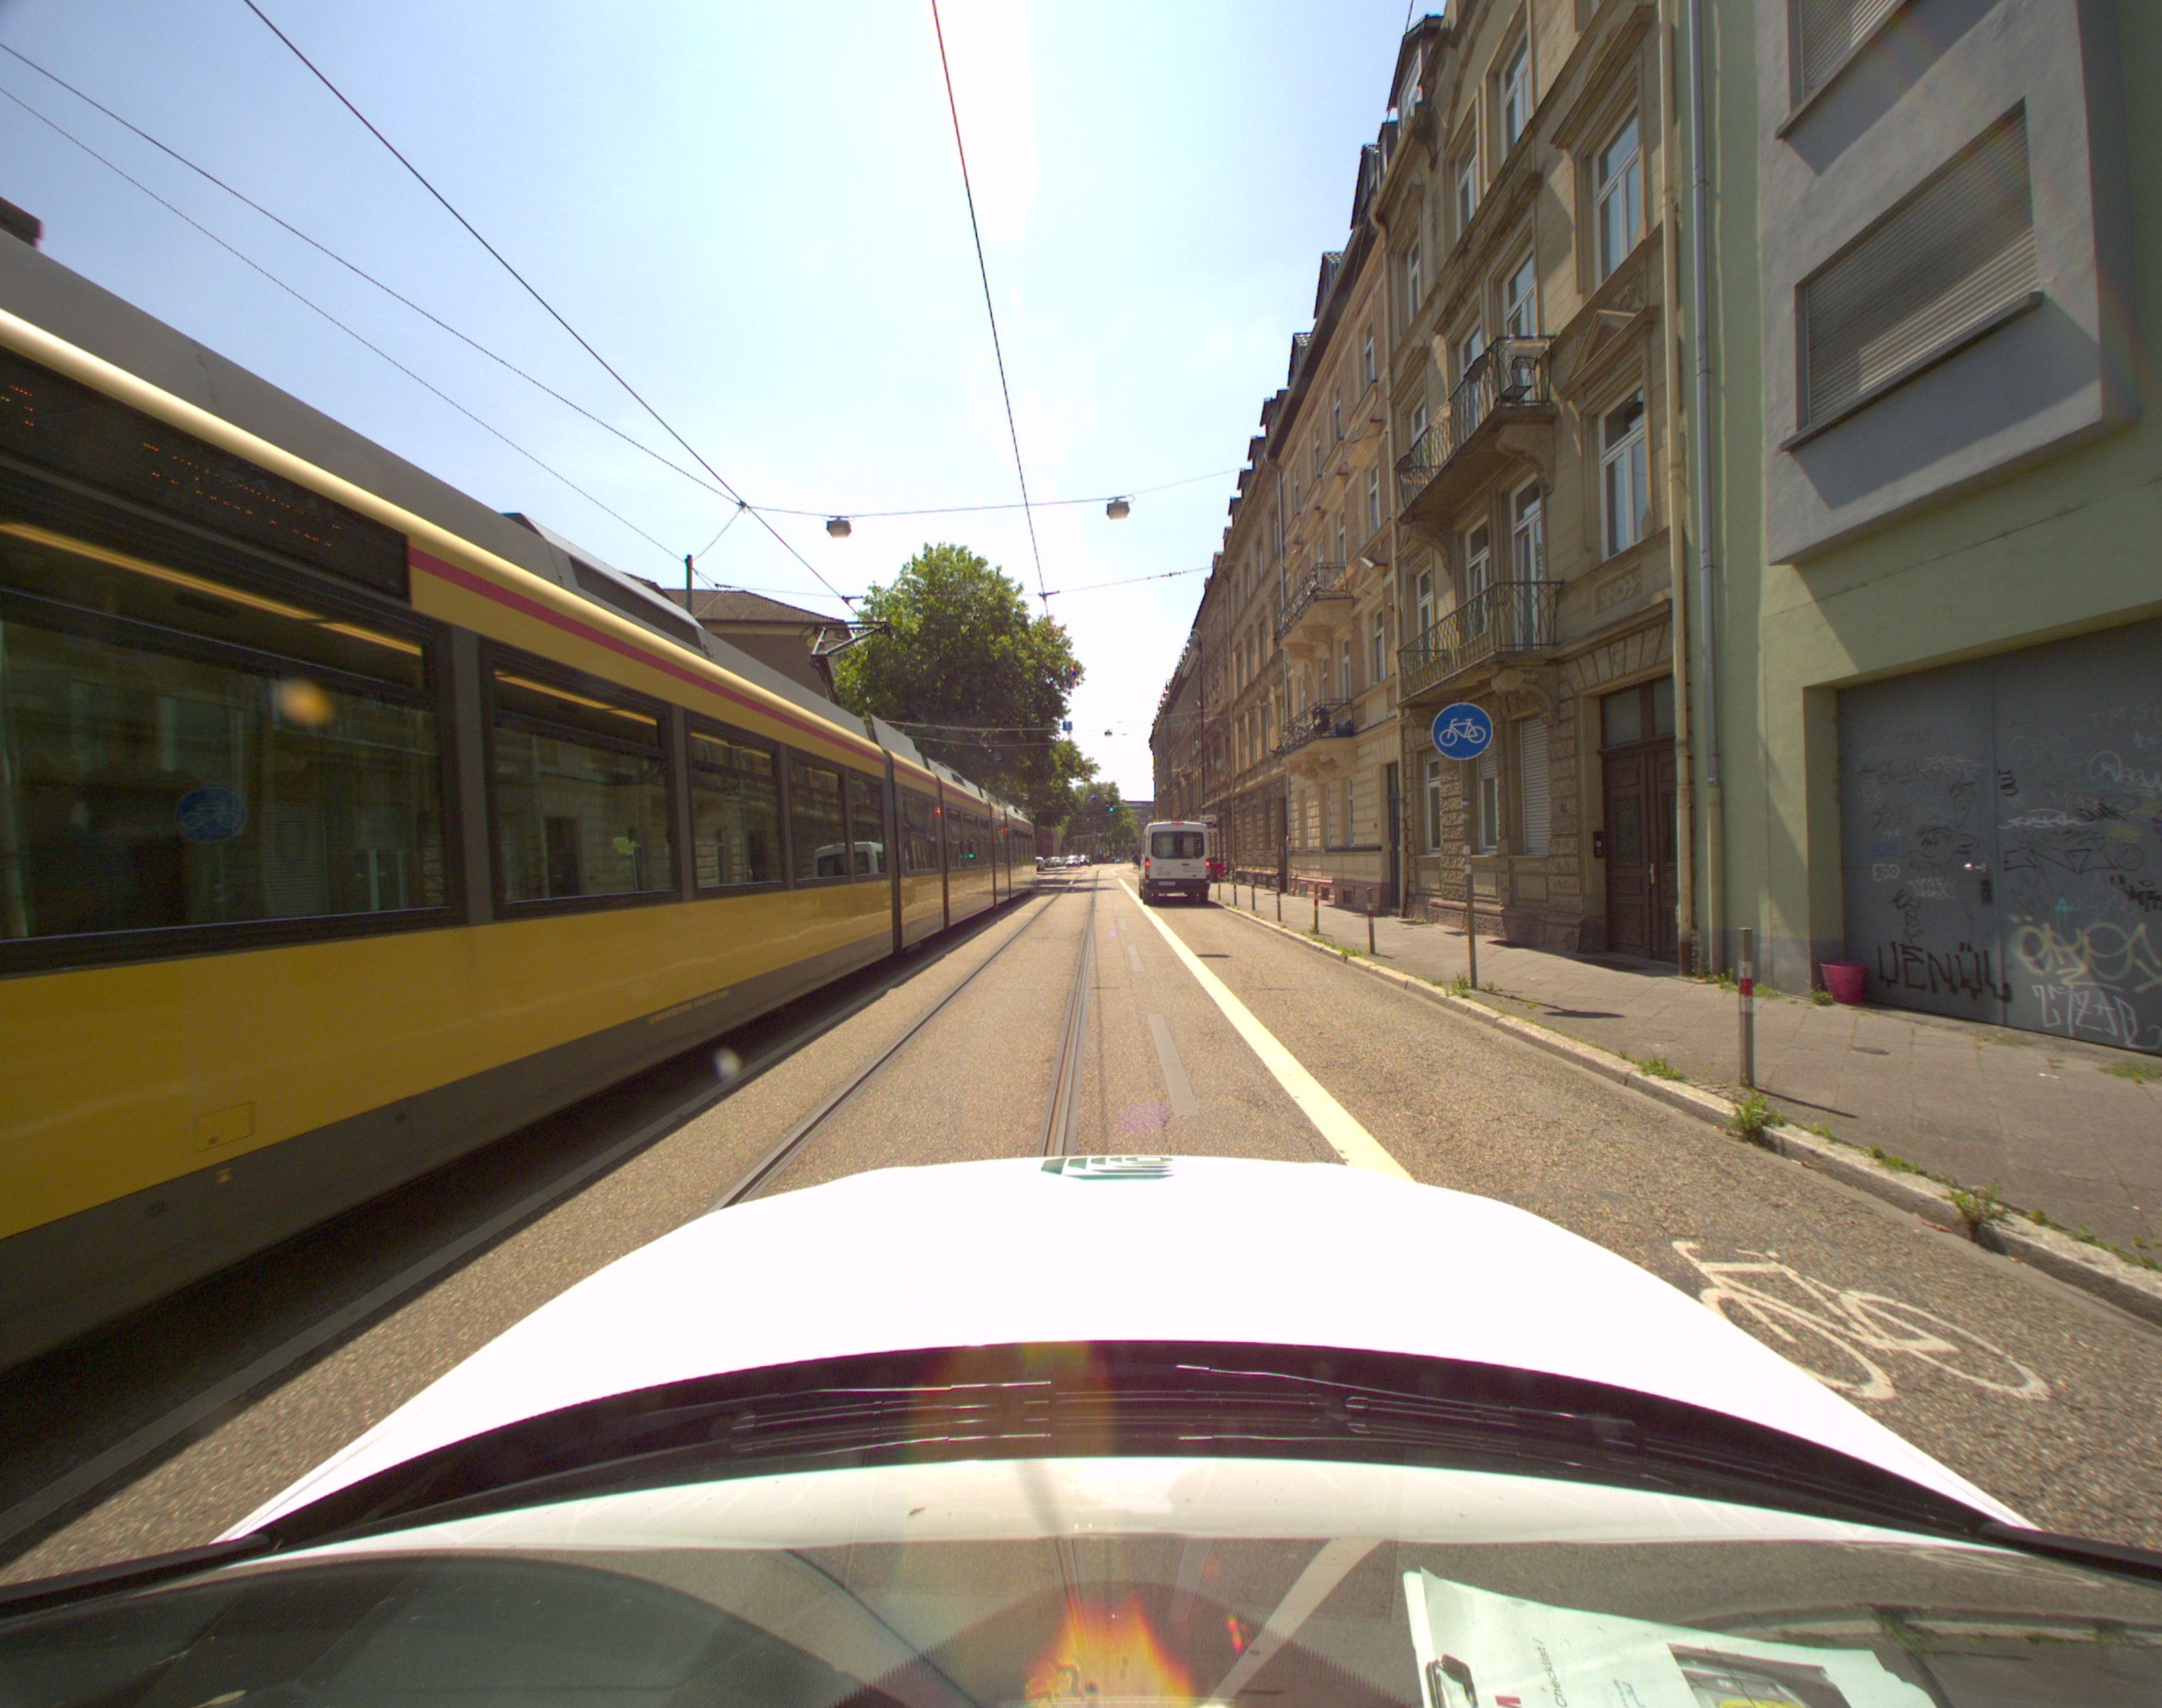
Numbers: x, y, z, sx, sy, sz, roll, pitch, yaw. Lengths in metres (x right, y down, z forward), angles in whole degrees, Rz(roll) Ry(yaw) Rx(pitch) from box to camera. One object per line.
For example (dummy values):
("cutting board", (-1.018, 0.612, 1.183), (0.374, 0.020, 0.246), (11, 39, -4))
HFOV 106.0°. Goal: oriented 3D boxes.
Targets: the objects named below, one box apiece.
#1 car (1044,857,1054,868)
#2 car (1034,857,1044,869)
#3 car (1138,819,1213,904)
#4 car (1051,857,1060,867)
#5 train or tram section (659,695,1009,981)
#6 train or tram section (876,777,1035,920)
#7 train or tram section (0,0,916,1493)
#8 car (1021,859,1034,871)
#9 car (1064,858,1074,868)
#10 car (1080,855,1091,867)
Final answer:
("car", (-5.185, 1.364, 132.172), (1.450, 1.731, 3.192), (0, 0, -1))
("car", (-6.579, 1.369, 126.806), (1.450, 1.731, 3.192), (0, 0, -1))
("car", (2.976, 0.225, 26.814), (2.059, 2.501, 5.457), (0, 0, 2))
("car", (-4.219, 1.377, 137.284), (1.450, 1.731, 3.192), (0, 0, -1))
("train or tram section", (-3.732, -0.189, 17.045), (2.950, 3.580, 13.425), (-1, 0, 1))
("train or tram section", (-3.547, -0.122, 27.299), (2.950, 3.580, 13.425), (-1, 0, 1))
("train or tram section", (-3.967, -0.268, 4.830), (2.950, 3.580, 13.425), (-1, 0, 1))
("car", (-6.449, 1.317, 98.549), (1.450, 1.496, 3.661), (0, 0, -1))
("car", (-1.803, 1.275, 120.515), (1.523, 1.409, 3.488), (0, 0, -1))
("car", (0.682, 1.049, 127.683), (1.669, 1.860, 3.998), (0, 0, -1))
